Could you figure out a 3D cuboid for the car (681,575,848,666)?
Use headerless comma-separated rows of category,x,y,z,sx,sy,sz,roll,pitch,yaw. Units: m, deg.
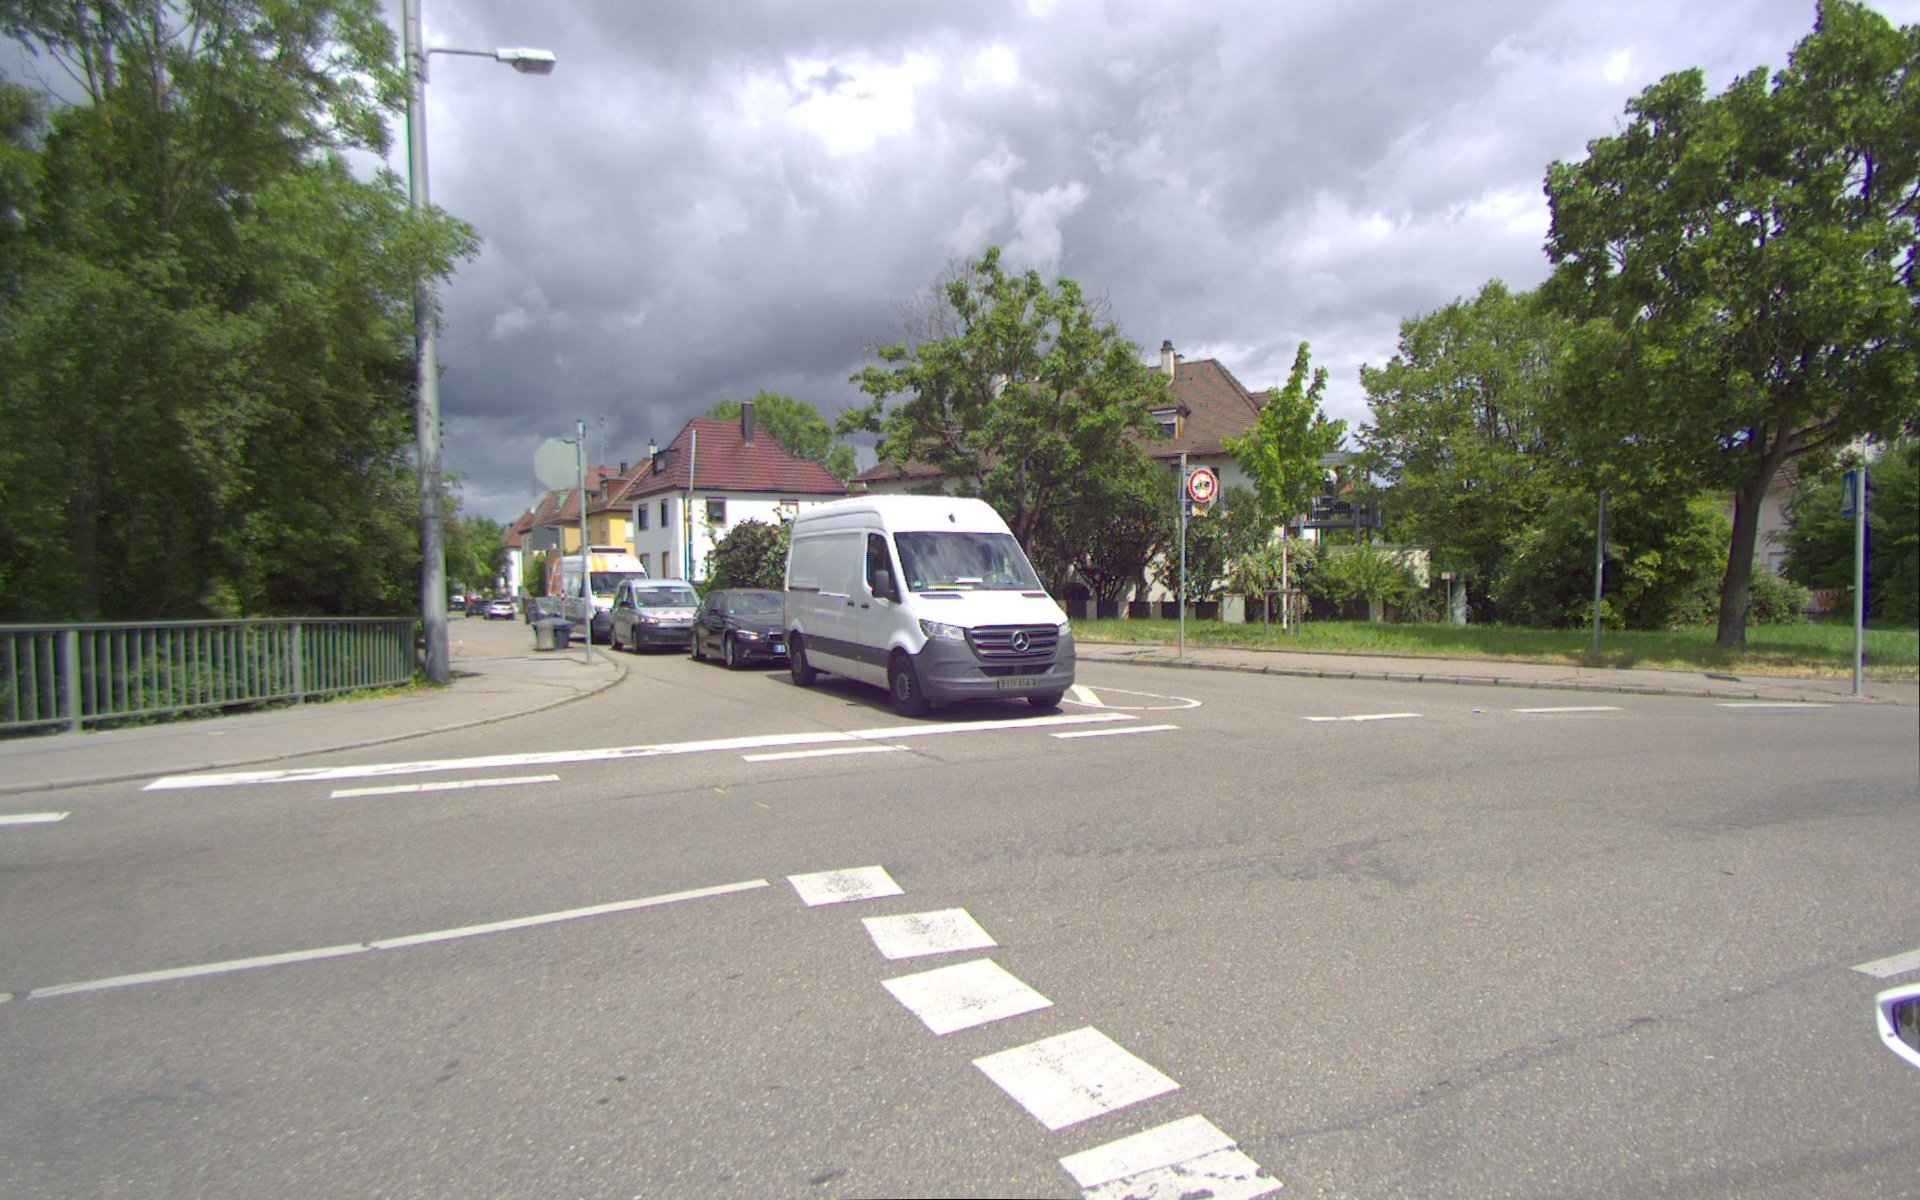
car,-3.821,0.317,19.012,1.975,1.494,4.199,-1,1,-28

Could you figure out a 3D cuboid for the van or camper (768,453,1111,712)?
van or camper,-0.630,-0.177,13.197,2.166,2.601,5.887,0,0,-27

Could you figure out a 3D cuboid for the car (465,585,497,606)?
car,-41.232,-0.400,86.422,1.978,1.609,4.361,-1,2,-32

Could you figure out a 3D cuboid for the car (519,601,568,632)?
car,-24.873,0.933,59.886,1.978,1.609,4.361,-1,2,-32

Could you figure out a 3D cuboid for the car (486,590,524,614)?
car,-34.410,0.137,75.934,1.978,1.609,4.361,-1,2,-32

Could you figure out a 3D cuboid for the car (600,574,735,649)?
car,-7.117,0.231,24.157,1.978,1.609,4.362,-1,1,-32

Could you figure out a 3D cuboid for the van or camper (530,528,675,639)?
van or camper,-11.497,-0.341,31.726,2.248,3.035,8.249,-2,-1,-34
